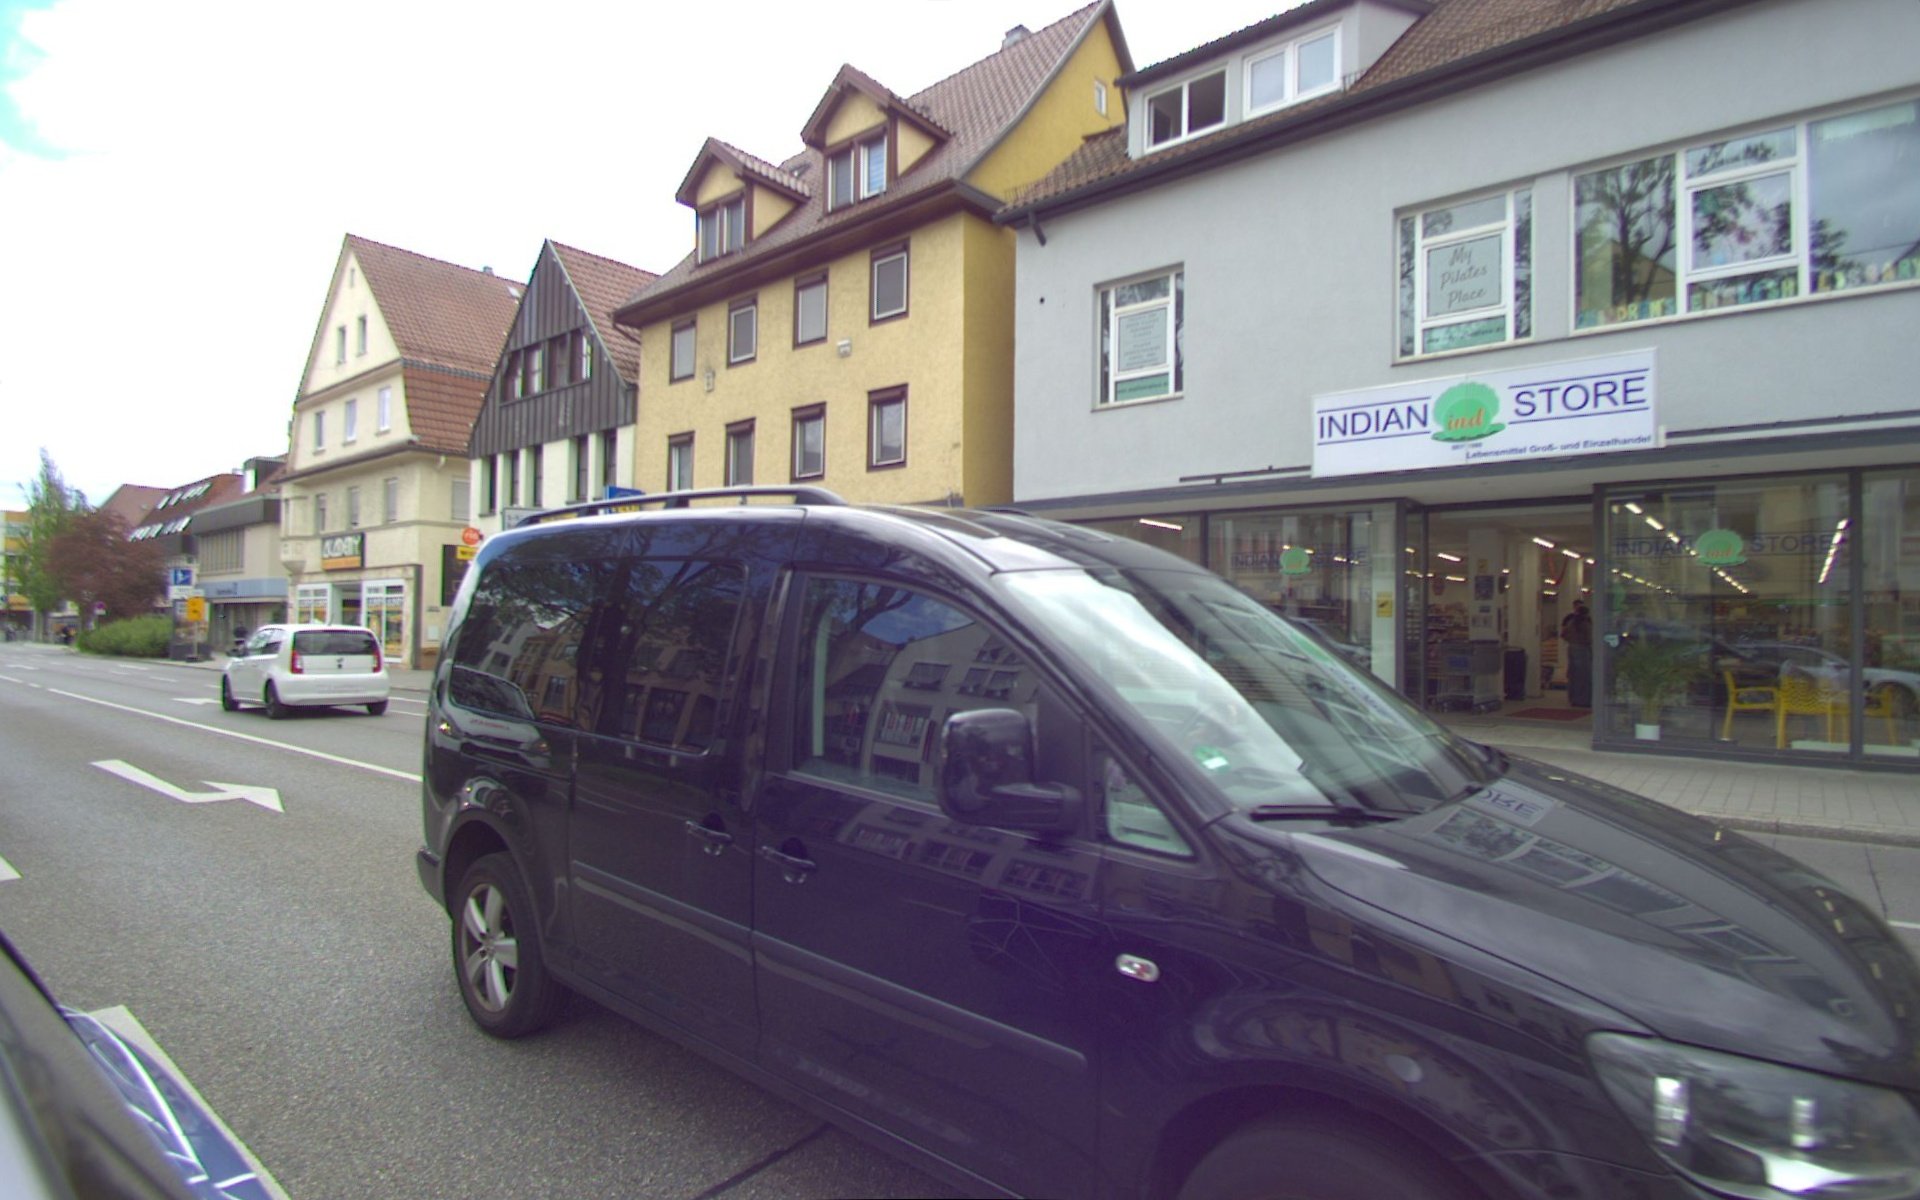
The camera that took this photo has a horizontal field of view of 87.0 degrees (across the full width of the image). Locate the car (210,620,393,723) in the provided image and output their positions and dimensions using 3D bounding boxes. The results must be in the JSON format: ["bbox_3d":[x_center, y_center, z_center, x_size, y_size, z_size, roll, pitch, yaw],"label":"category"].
[{"bbox_3d":[-10.831,1.115,16.580,3.461,1.500,1.558,-2,-3,40],"label":"car"}]

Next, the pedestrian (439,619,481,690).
[{"bbox_3d":[-12.347,1.332,24.985,0.742,1.703,0.680,-2,-1,41],"label":"pedestrian"}]

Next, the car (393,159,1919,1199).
[{"bbox_3d":[0.106,0.506,3.033,4.632,1.869,1.726,-2,-1,42],"label":"car"}]

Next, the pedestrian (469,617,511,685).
[{"bbox_3d":[-12.070,1.306,25.988,0.709,1.683,0.681,-2,0,41],"label":"pedestrian"}]

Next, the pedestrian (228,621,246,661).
[{"bbox_3d":[-34.556,1.949,48.369,0.592,1.903,0.544,-2,-1,37],"label":"pedestrian"}]
